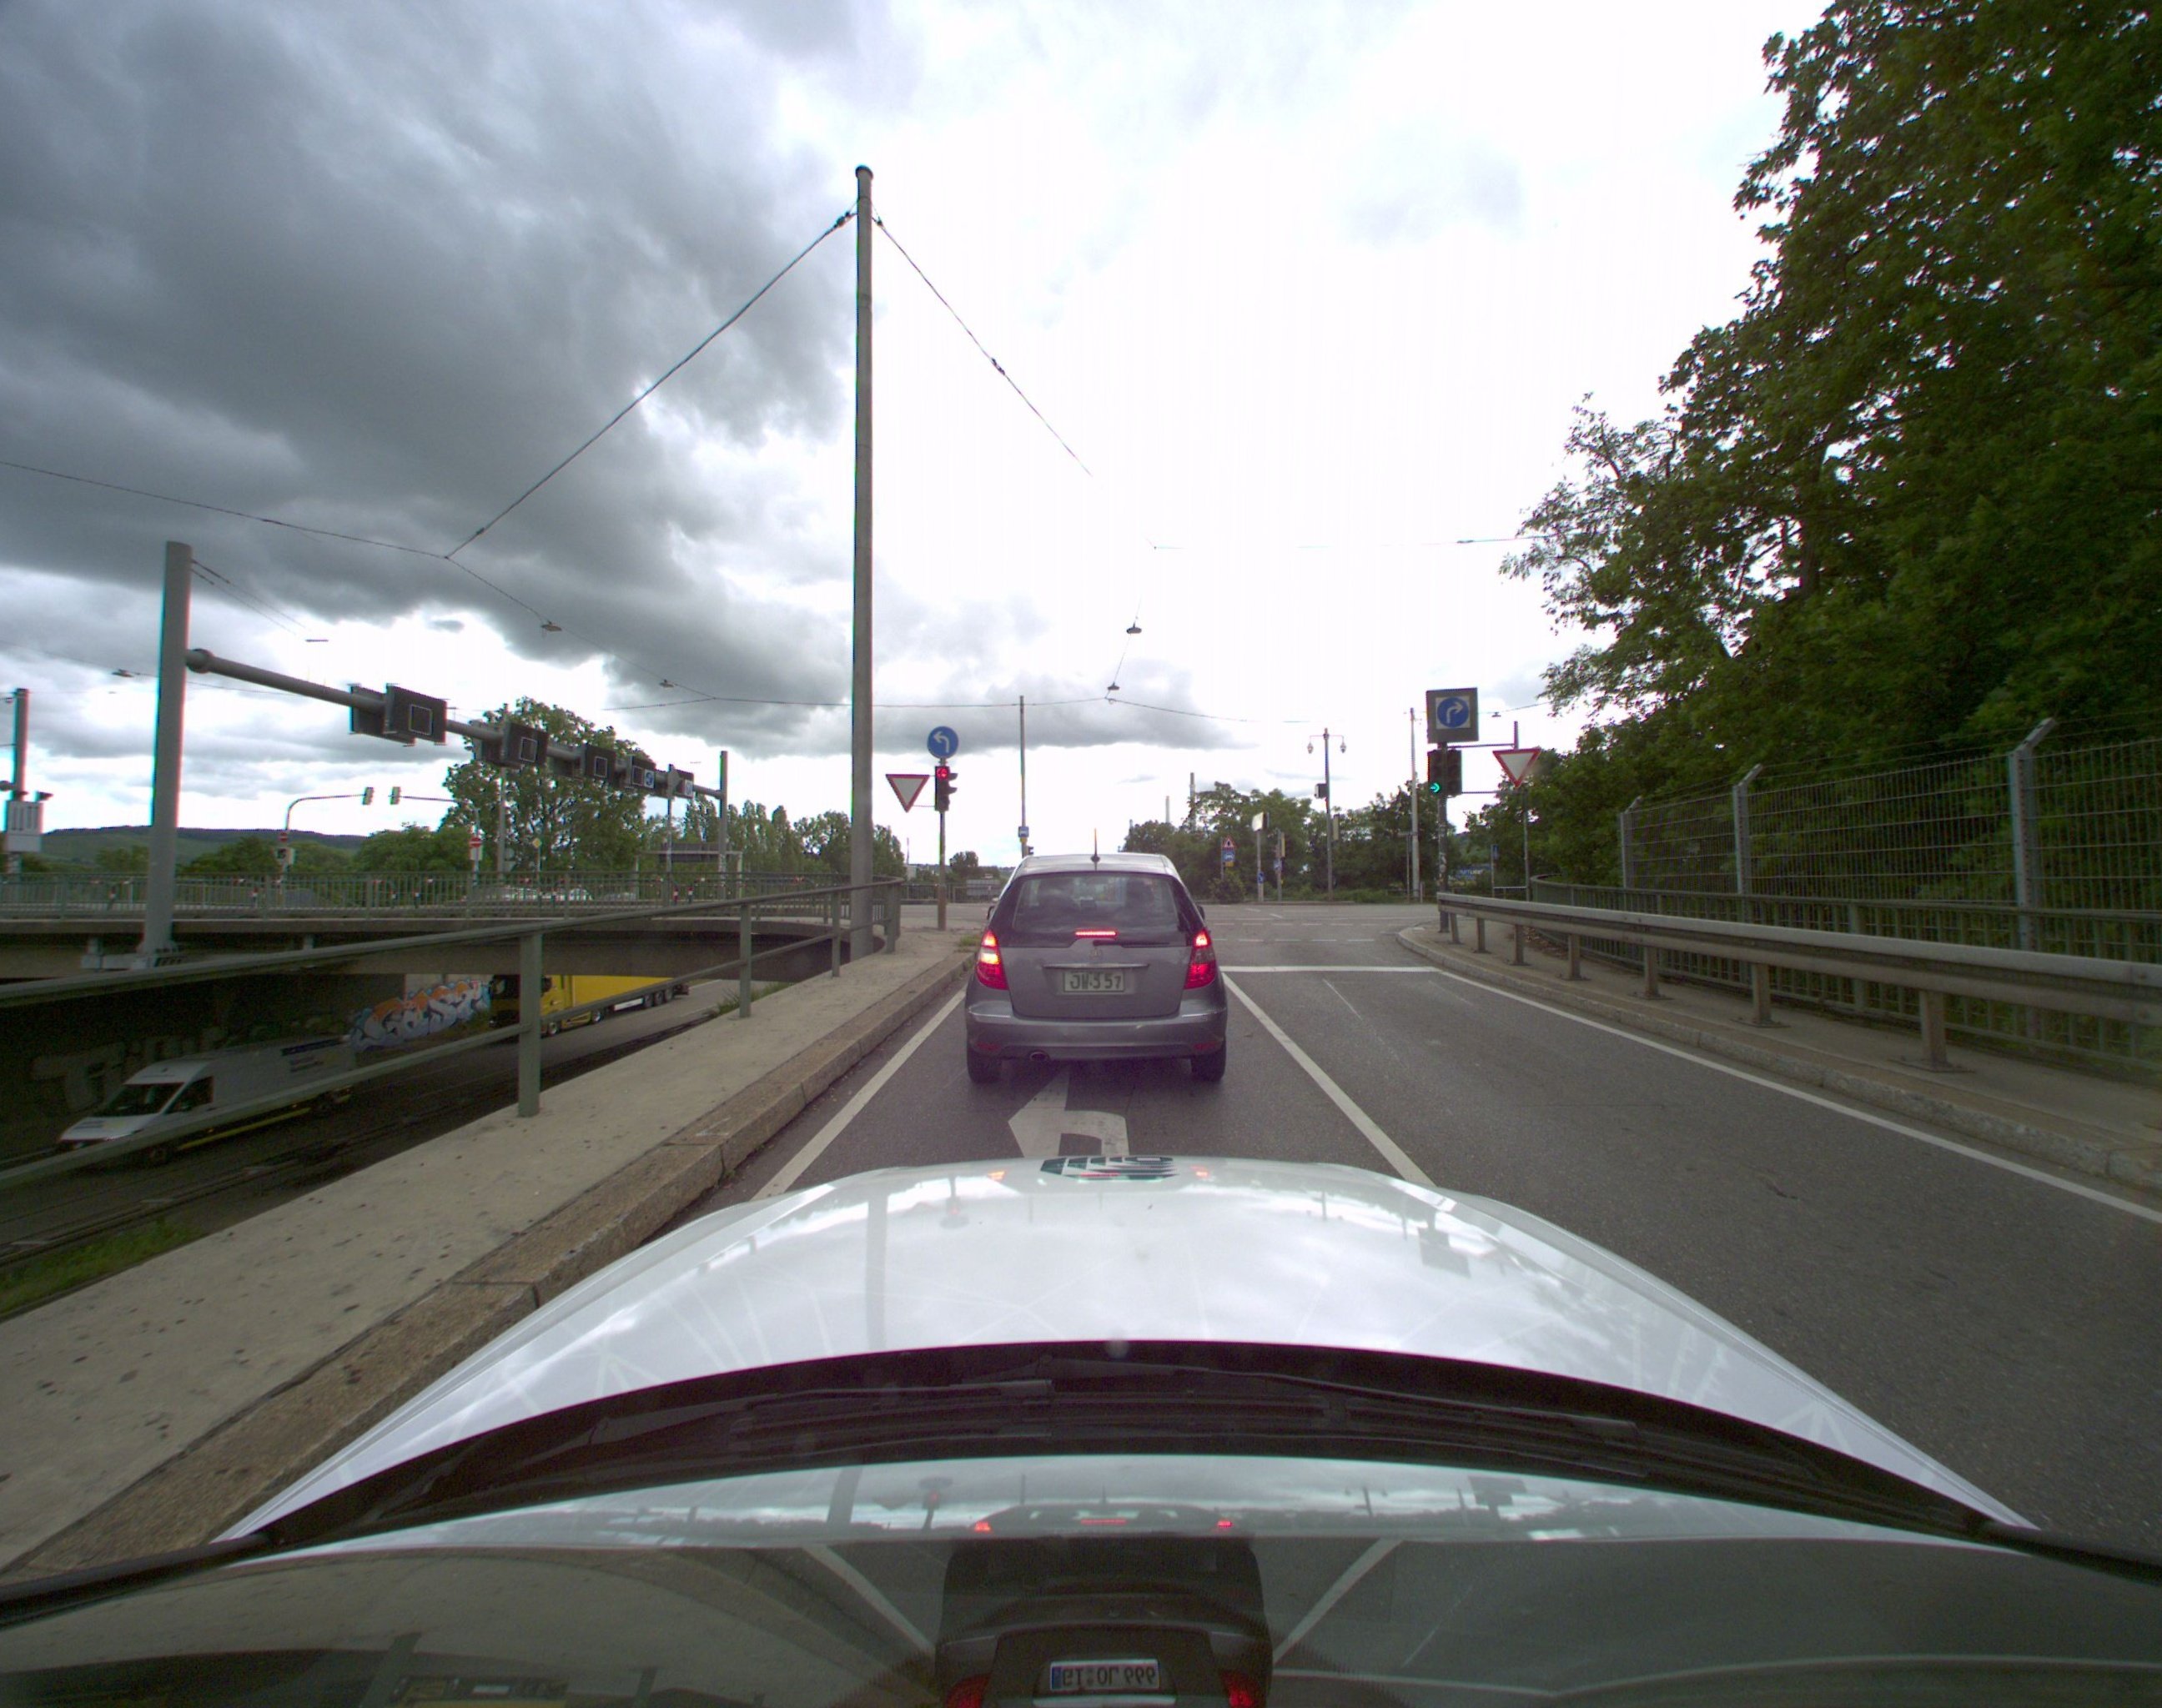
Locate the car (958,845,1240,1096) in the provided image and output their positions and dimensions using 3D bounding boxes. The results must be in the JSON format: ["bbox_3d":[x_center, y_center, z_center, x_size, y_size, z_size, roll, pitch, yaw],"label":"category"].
[{"bbox_3d":[0.171,0.734,6.802,1.733,1.543,3.542,0,-1,2],"label":"car"}]

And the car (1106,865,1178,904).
[{"bbox_3d":[4.388,2.331,60.645,2.446,2.681,7.711,0,-3,-20],"label":"car"}]

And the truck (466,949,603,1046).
[{"bbox_3d":[-28.387,7.324,42.651,3.230,4.182,5.802,-2,-3,0],"label":"truck"}]

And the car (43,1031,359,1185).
[{"bbox_3d":[-25.330,7.169,24.033,1.987,2.628,6.711,-3,-3,0],"label":"car"}]

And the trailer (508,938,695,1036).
[{"bbox_3d":[-28.376,7.659,49.534,3.230,4.263,13.675,-2,-3,0],"label":"trailer"}]
